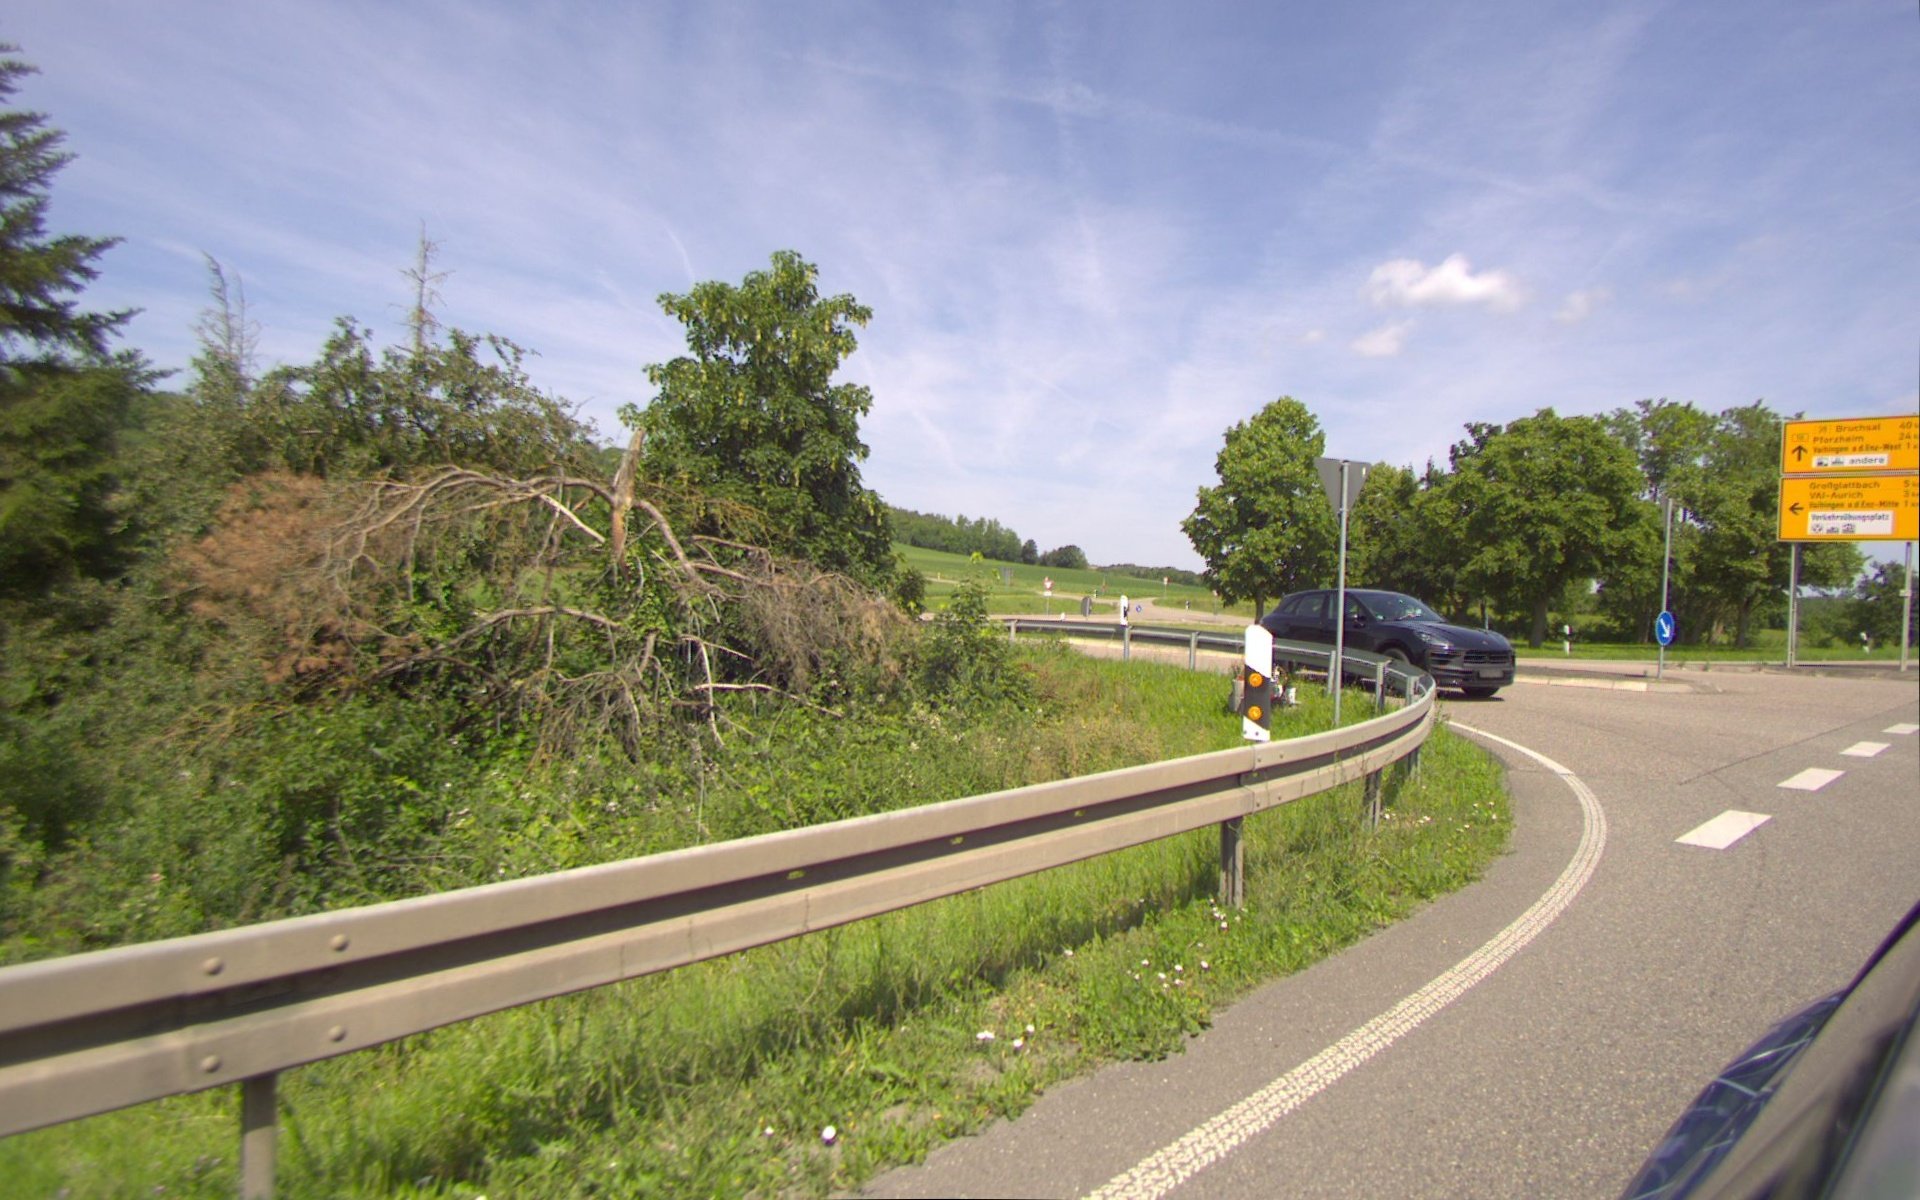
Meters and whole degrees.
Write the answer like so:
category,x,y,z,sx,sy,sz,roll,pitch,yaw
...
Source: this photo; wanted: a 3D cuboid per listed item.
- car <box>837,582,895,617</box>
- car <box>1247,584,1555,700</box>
category,x,y,z,sx,sy,sz,roll,pitch,yaw
car,-5.504,-0.093,60.077,1.969,1.869,5.404,4,2,11
car,6.918,0.564,16.468,2.021,1.610,4.438,1,1,-22
